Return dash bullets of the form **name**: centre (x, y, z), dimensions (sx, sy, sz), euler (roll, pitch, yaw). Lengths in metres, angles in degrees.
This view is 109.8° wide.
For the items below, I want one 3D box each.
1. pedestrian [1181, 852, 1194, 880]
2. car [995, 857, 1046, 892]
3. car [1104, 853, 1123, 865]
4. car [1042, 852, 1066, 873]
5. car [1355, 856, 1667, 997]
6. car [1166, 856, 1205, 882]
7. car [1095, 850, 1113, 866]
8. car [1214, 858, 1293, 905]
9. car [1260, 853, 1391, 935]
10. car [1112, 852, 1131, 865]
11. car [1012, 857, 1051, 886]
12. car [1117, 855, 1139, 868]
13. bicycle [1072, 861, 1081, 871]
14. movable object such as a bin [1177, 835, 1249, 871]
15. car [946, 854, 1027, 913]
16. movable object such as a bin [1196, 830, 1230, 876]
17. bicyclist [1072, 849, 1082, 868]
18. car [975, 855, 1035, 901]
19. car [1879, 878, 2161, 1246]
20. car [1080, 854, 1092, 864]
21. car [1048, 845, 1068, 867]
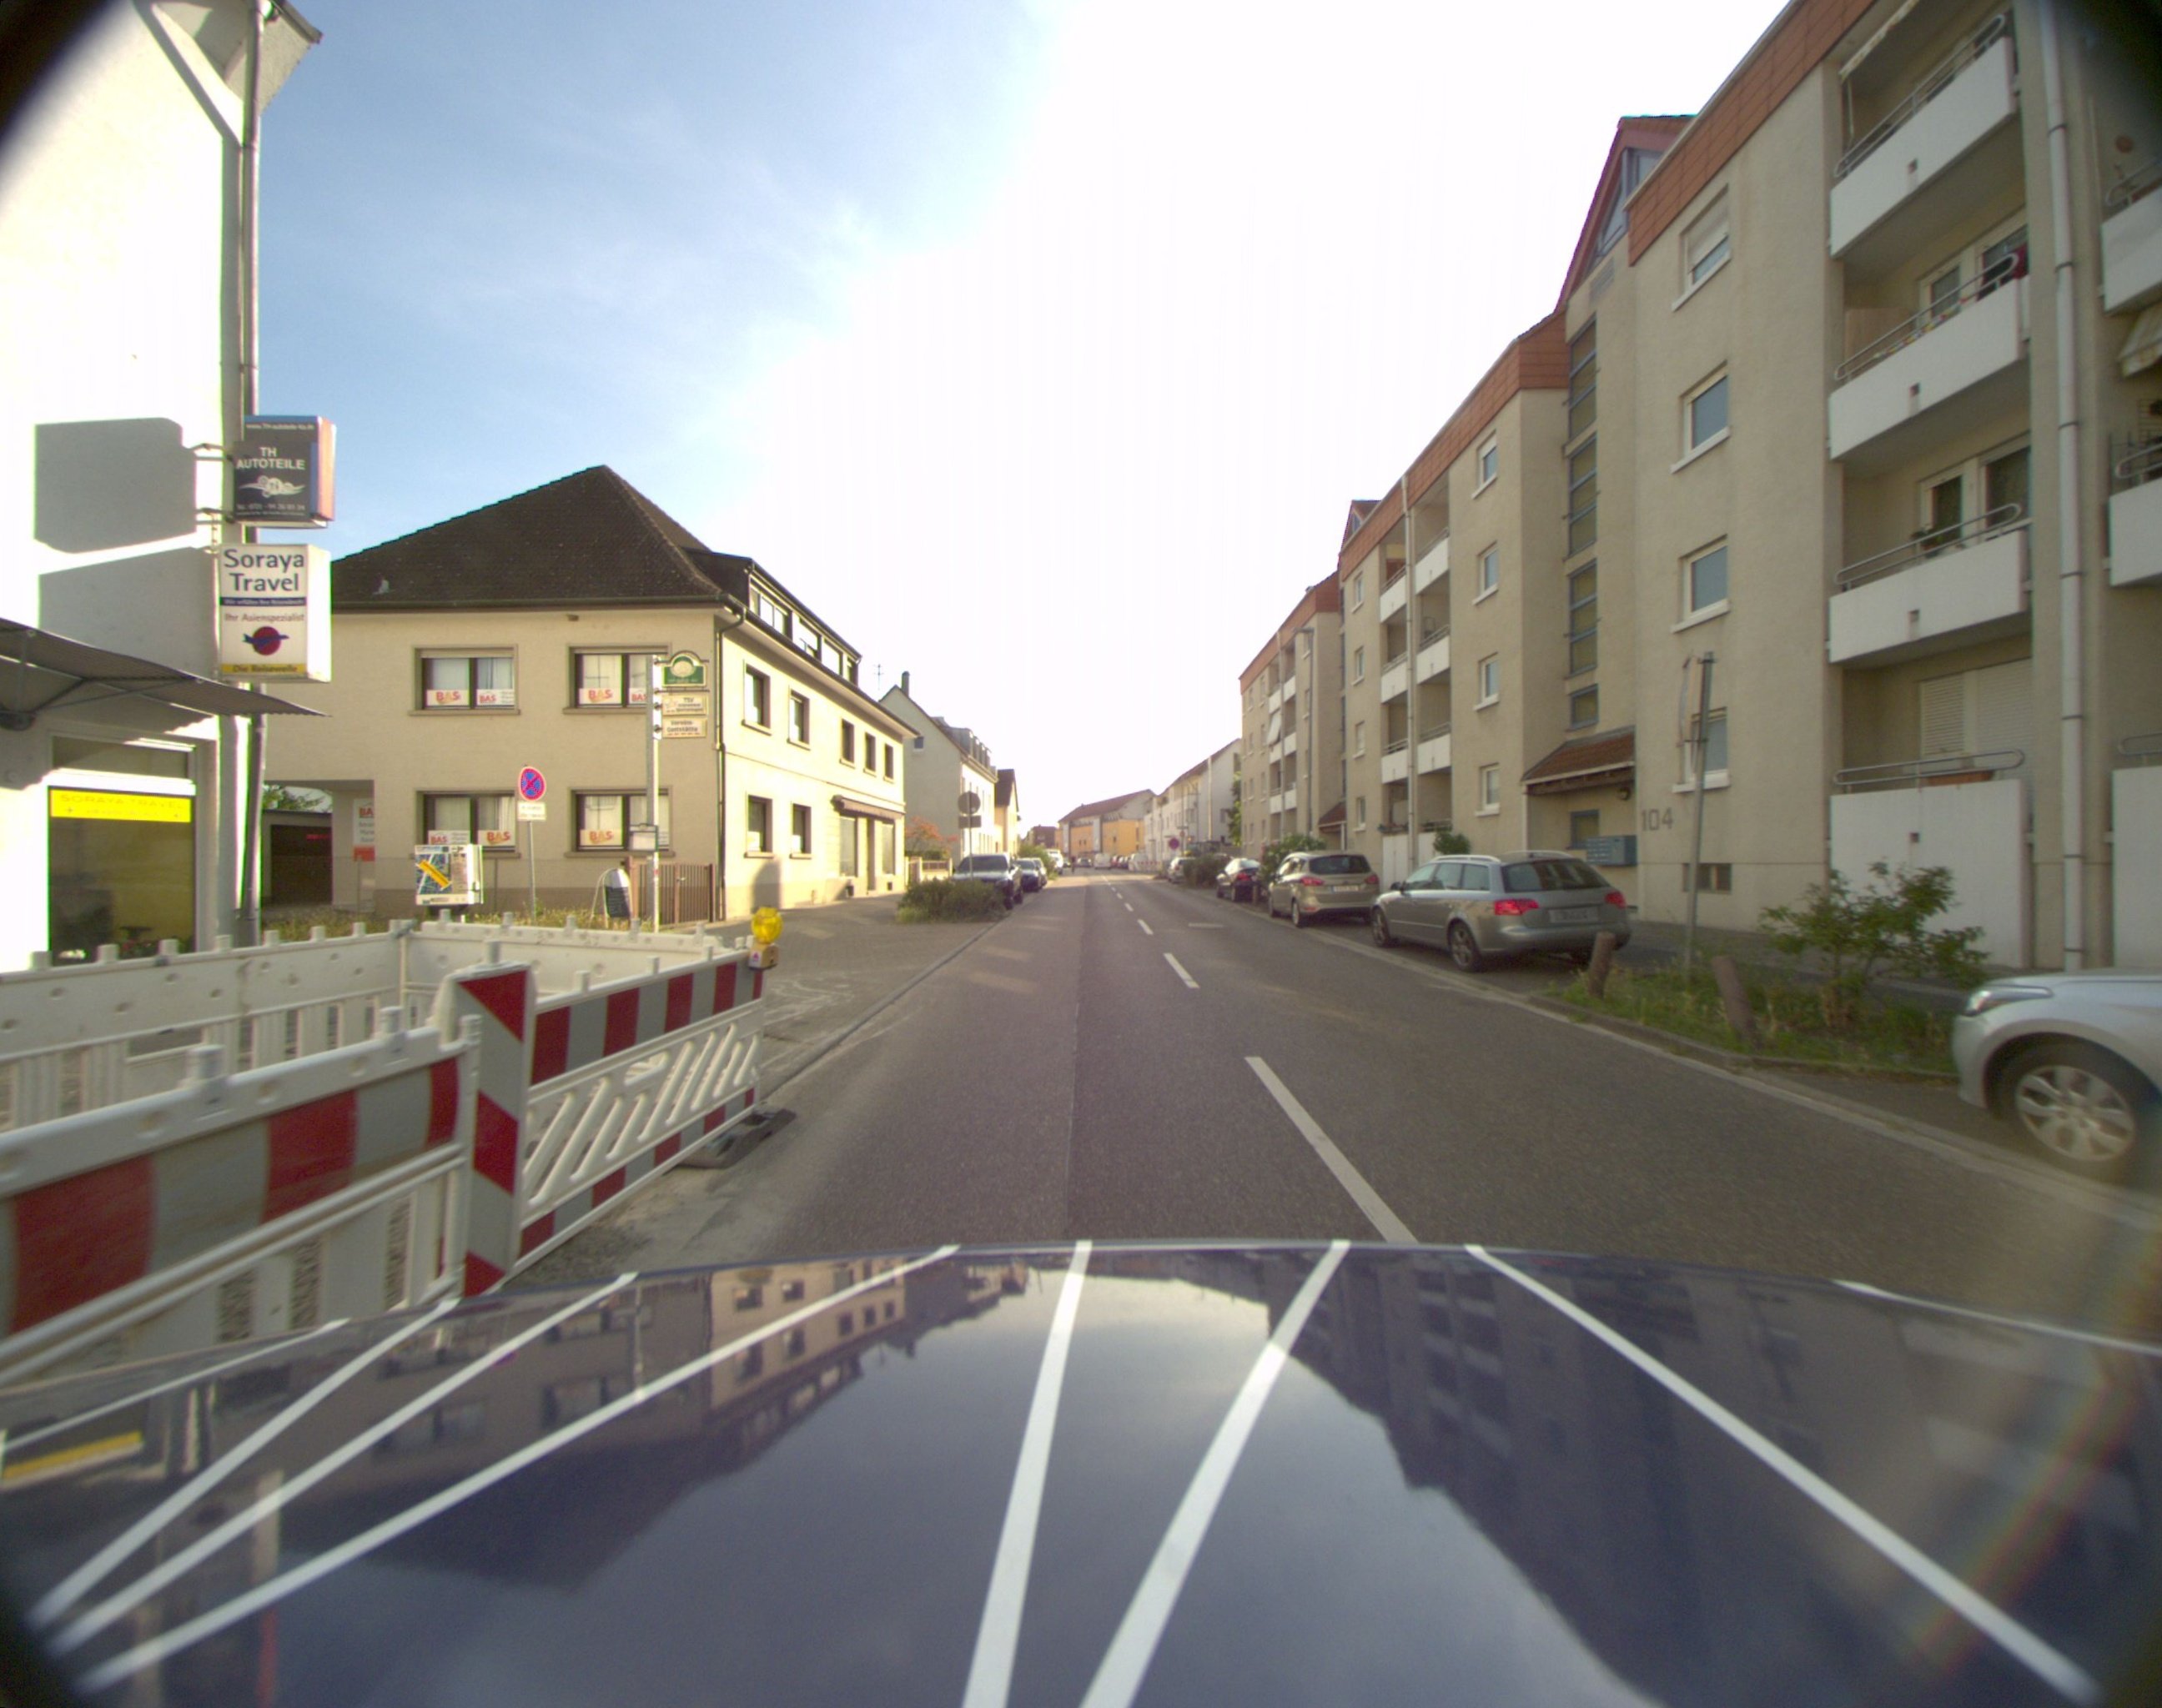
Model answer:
- **pedestrian**: centre (7.179, 0.812, 51.333), dimensions (0.720, 1.808, 0.745), euler (-1, 0, 1)
- **car**: centre (-2.610, 0.862, 33.704), dimensions (1.834, 1.412, 4.609), euler (0, 0, 1)
- **car**: centre (4.355, 0.716, 102.458), dimensions (1.732, 1.469, 4.500), euler (-2, -1, -7)
- **car**: centre (-2.287, 0.696, 65.150), dimensions (1.817, 1.674, 4.476), euler (1, 0, 0)
- **car**: centre (5.562, 0.814, 10.606), dimensions (1.812, 1.512, 4.370), euler (-1, 0, -1)
- **car**: centre (5.960, 0.806, 43.547), dimensions (1.644, 1.387, 3.671), euler (-1, 0, -1)
- **car**: centre (2.657, 0.477, 88.078), dimensions (1.927, 1.756, 4.337), euler (1, 0, 0)
- **car**: centre (5.636, 0.845, 25.277), dimensions (1.690, 1.397, 4.083), euler (-1, 0, 0)
- **car**: centre (5.264, 0.793, 16.887), dimensions (1.731, 1.546, 3.965), euler (-2, 0, 2)
- **car**: centre (5.170, 0.596, 97.476), dimensions (1.733, 1.612, 4.260), euler (0, 0, -7)
- **car**: centre (-2.549, 0.876, 40.007), dimensions (1.784, 1.412, 4.496), euler (0, 0, 0)
- **car**: centre (5.638, 0.901, 91.610), dimensions (1.732, 1.469, 4.261), euler (-2, 0, -7)
- **bicycle**: centre (-0.395, 1.090, 67.774), dimensions (0.680, 0.849, 2.026), euler (0, 0, -4)
- **movable object such as a bin**: centre (11.185, -0.040, 64.480), dimensions (5.516, 2.883, 2.110), euler (-1, 0, -11)
- **car**: centre (-2.757, 0.803, 23.092), dimensions (1.834, 1.620, 4.463), euler (0, 0, 1)
- **movable object such as a bin**: centre (9.365, -0.051, 54.074), dimensions (1.652, 3.120, 3.900), euler (0, 0, -1)
- **bicyclist**: centre (-0.388, 0.437, 67.865), dimensions (0.845, 1.679, 0.877), euler (-1, 1, -4)
- **car**: centre (-2.787, 0.842, 28.582), dimensions (1.834, 1.551, 4.317), euler (0, 0, 0)
- **car**: centre (5.255, 0.866, 2.136), dimensions (1.690, 1.446, 4.141), euler (-1, 0, 1)
- **car**: centre (0.701, 0.762, 109.172), dimensions (1.622, 1.446, 3.684), euler (0, 0, -1)
- **car**: centre (-2.563, 0.253, 84.681), dimensions (2.180, 2.313, 4.997), euler (1, 0, -2)
